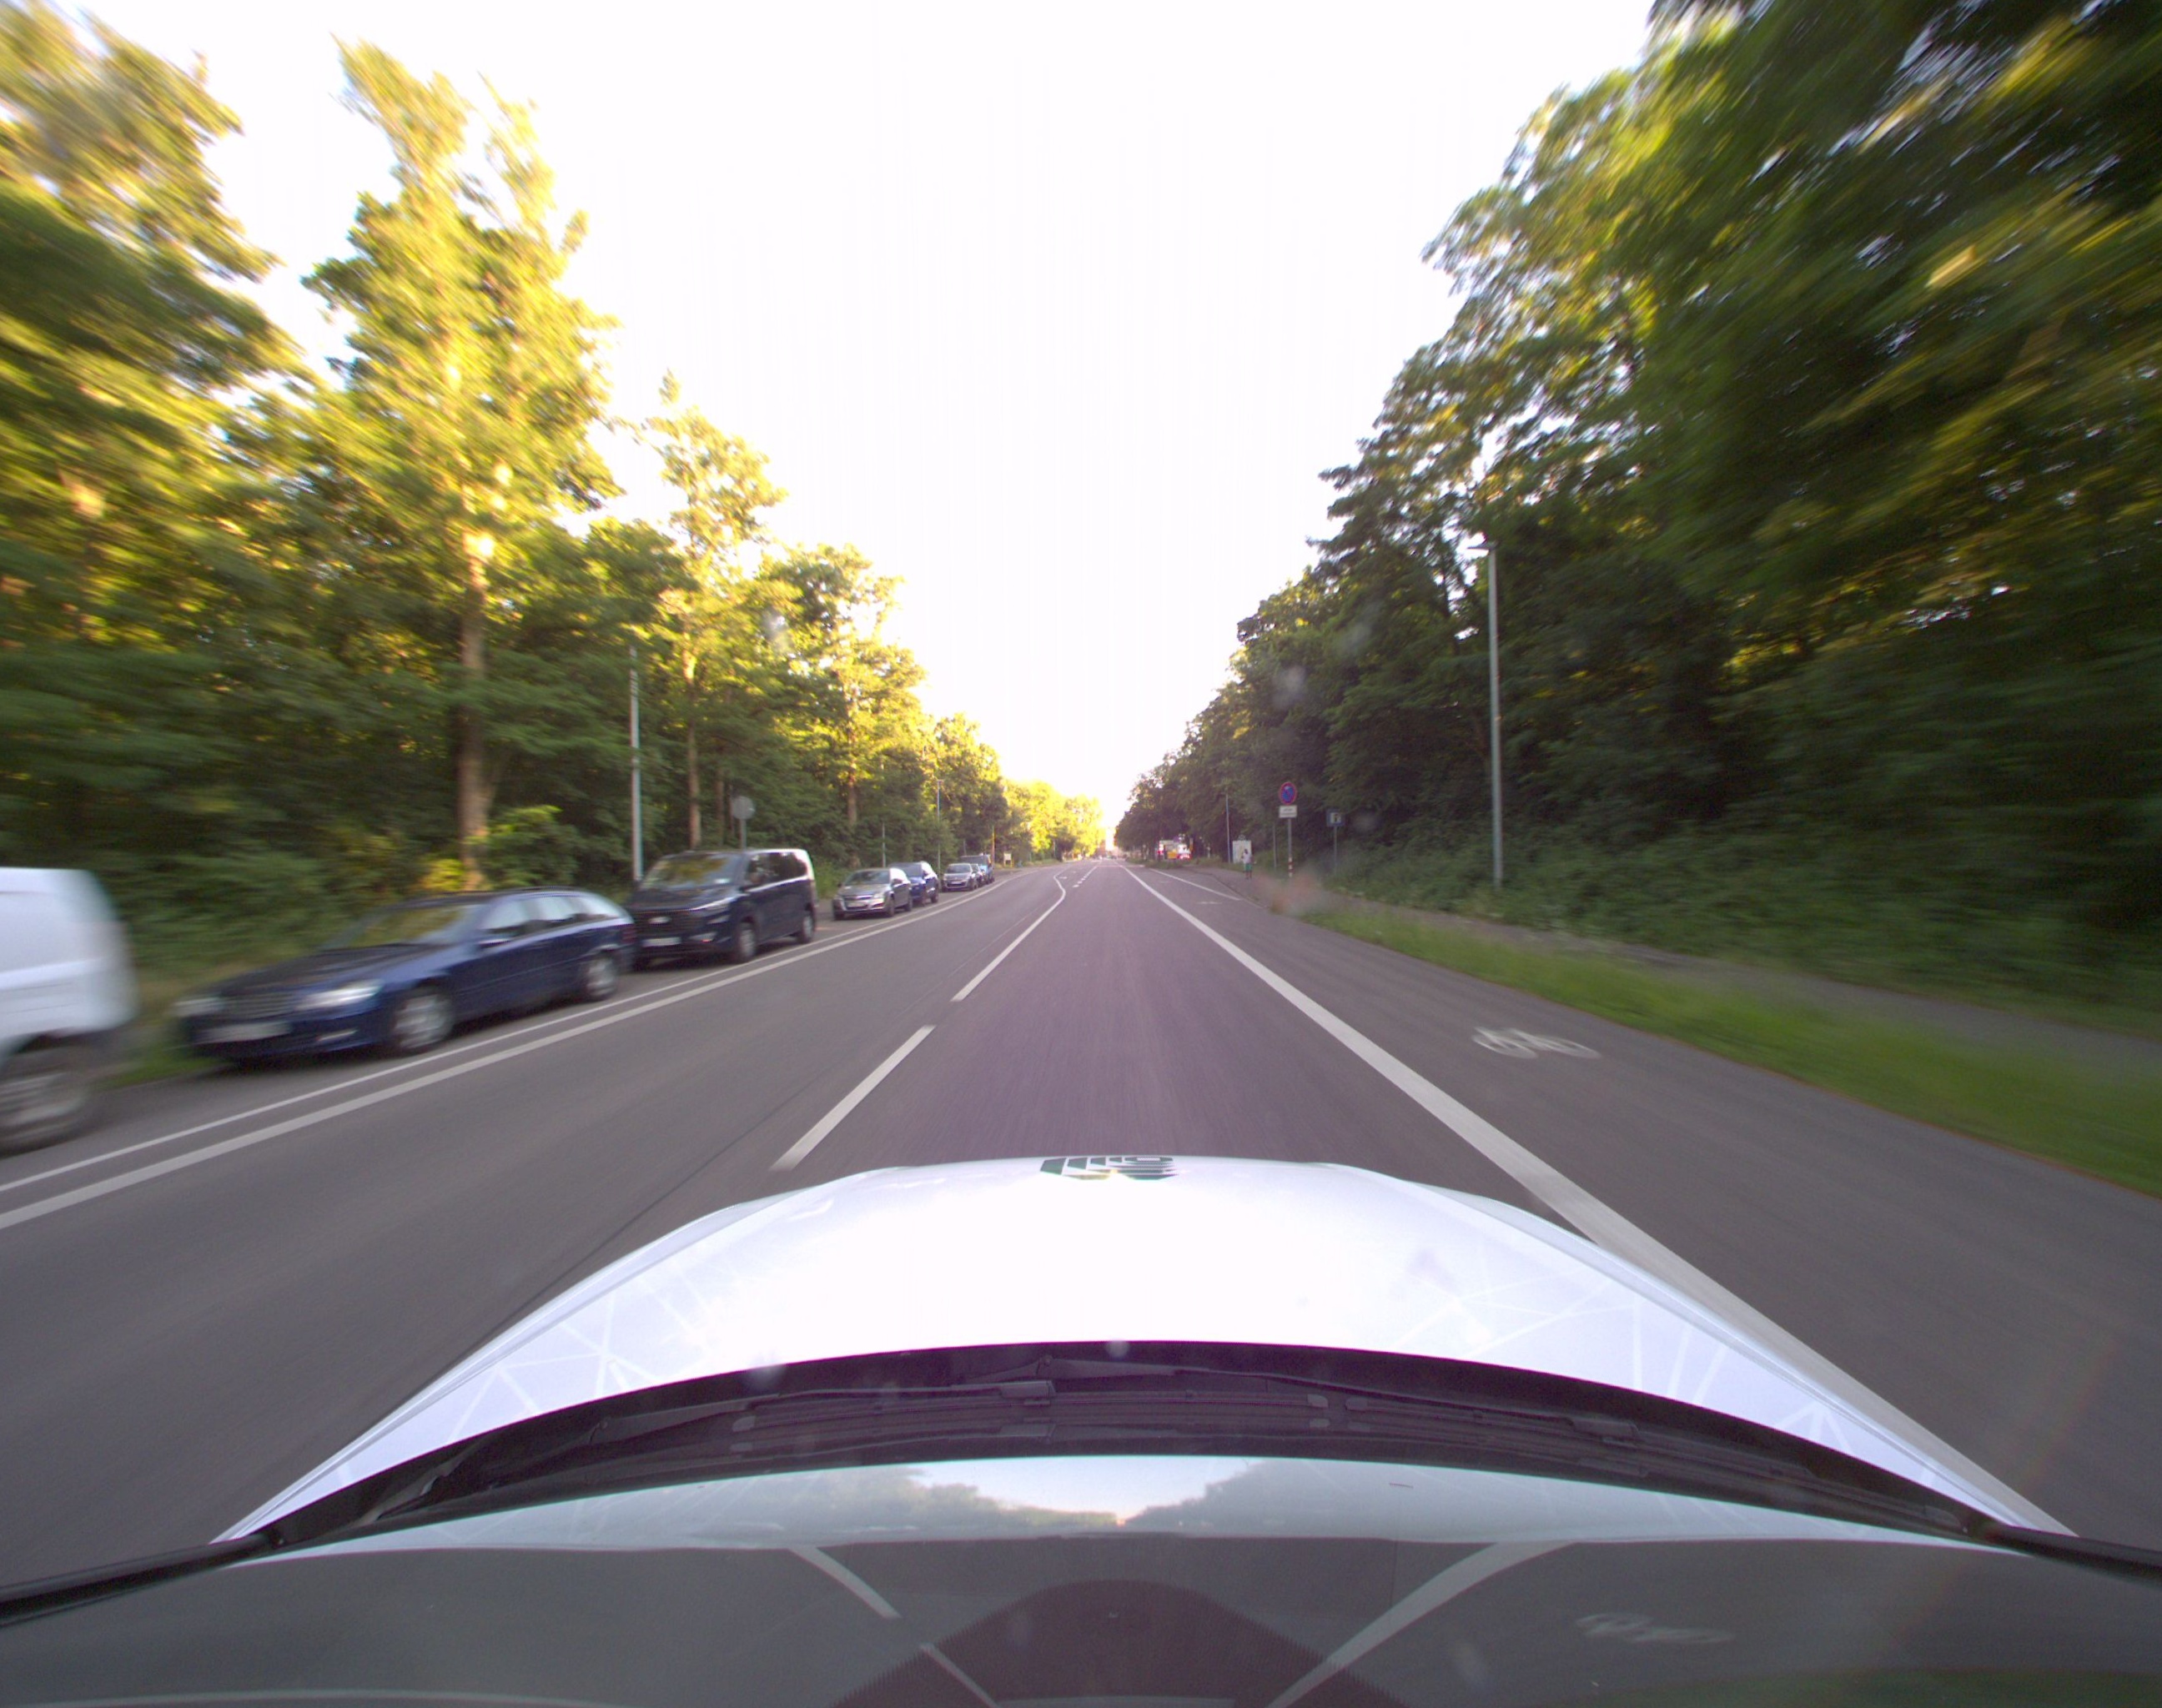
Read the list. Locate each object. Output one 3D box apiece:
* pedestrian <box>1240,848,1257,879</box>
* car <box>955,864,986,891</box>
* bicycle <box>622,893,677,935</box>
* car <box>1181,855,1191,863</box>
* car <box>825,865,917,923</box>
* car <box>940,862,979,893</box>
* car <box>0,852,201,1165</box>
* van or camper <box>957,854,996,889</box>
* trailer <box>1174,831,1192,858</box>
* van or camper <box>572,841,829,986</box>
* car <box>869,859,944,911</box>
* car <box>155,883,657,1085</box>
[{"bbox_3d":[9.753,0.567,47.365,0.835,1.751,0.726,-1,-1,2],"label":"pedestrian"},{"bbox_3d":[-6.667,1.374,49.526,1.540,1.493,3.965,-3,0,-4],"label":"car"},{"bbox_3d":[-11.367,1.556,21.507,0.451,0.975,1.718,-2,0,1],"label":"bicycle"},{"bbox_3d":[20.051,1.015,155.864,1.761,1.583,4.826,0,-1,6],"label":"car"},{"bbox_3d":[-6.339,1.162,25.090,1.663,1.501,4.245,-3,0,0],"label":"car"},{"bbox_3d":[-6.522,1.224,43.994,1.613,1.534,4.035,-3,0,-3],"label":"car"},{"bbox_3d":[-7.279,0.967,3.718,1.683,1.858,4.385,-4,0,-1],"label":"car"},{"bbox_3d":[-7.029,1.150,55.286,2.026,2.094,5.010,-3,0,-2],"label":"van or camper"},{"bbox_3d":[21.080,-1.854,168.454,3.008,5.462,7.940,-2,0,3],"label":"trailer"},{"bbox_3d":[-6.514,0.892,14.853,1.996,2.018,5.460,-4,0,0],"label":"van or camper"},{"bbox_3d":[-6.389,1.082,30.287,1.739,1.712,4.522,-3,0,0],"label":"car"},{"bbox_3d":[-6.752,1.155,8.972,1.663,1.433,4.448,-3,0,2],"label":"car"}]
